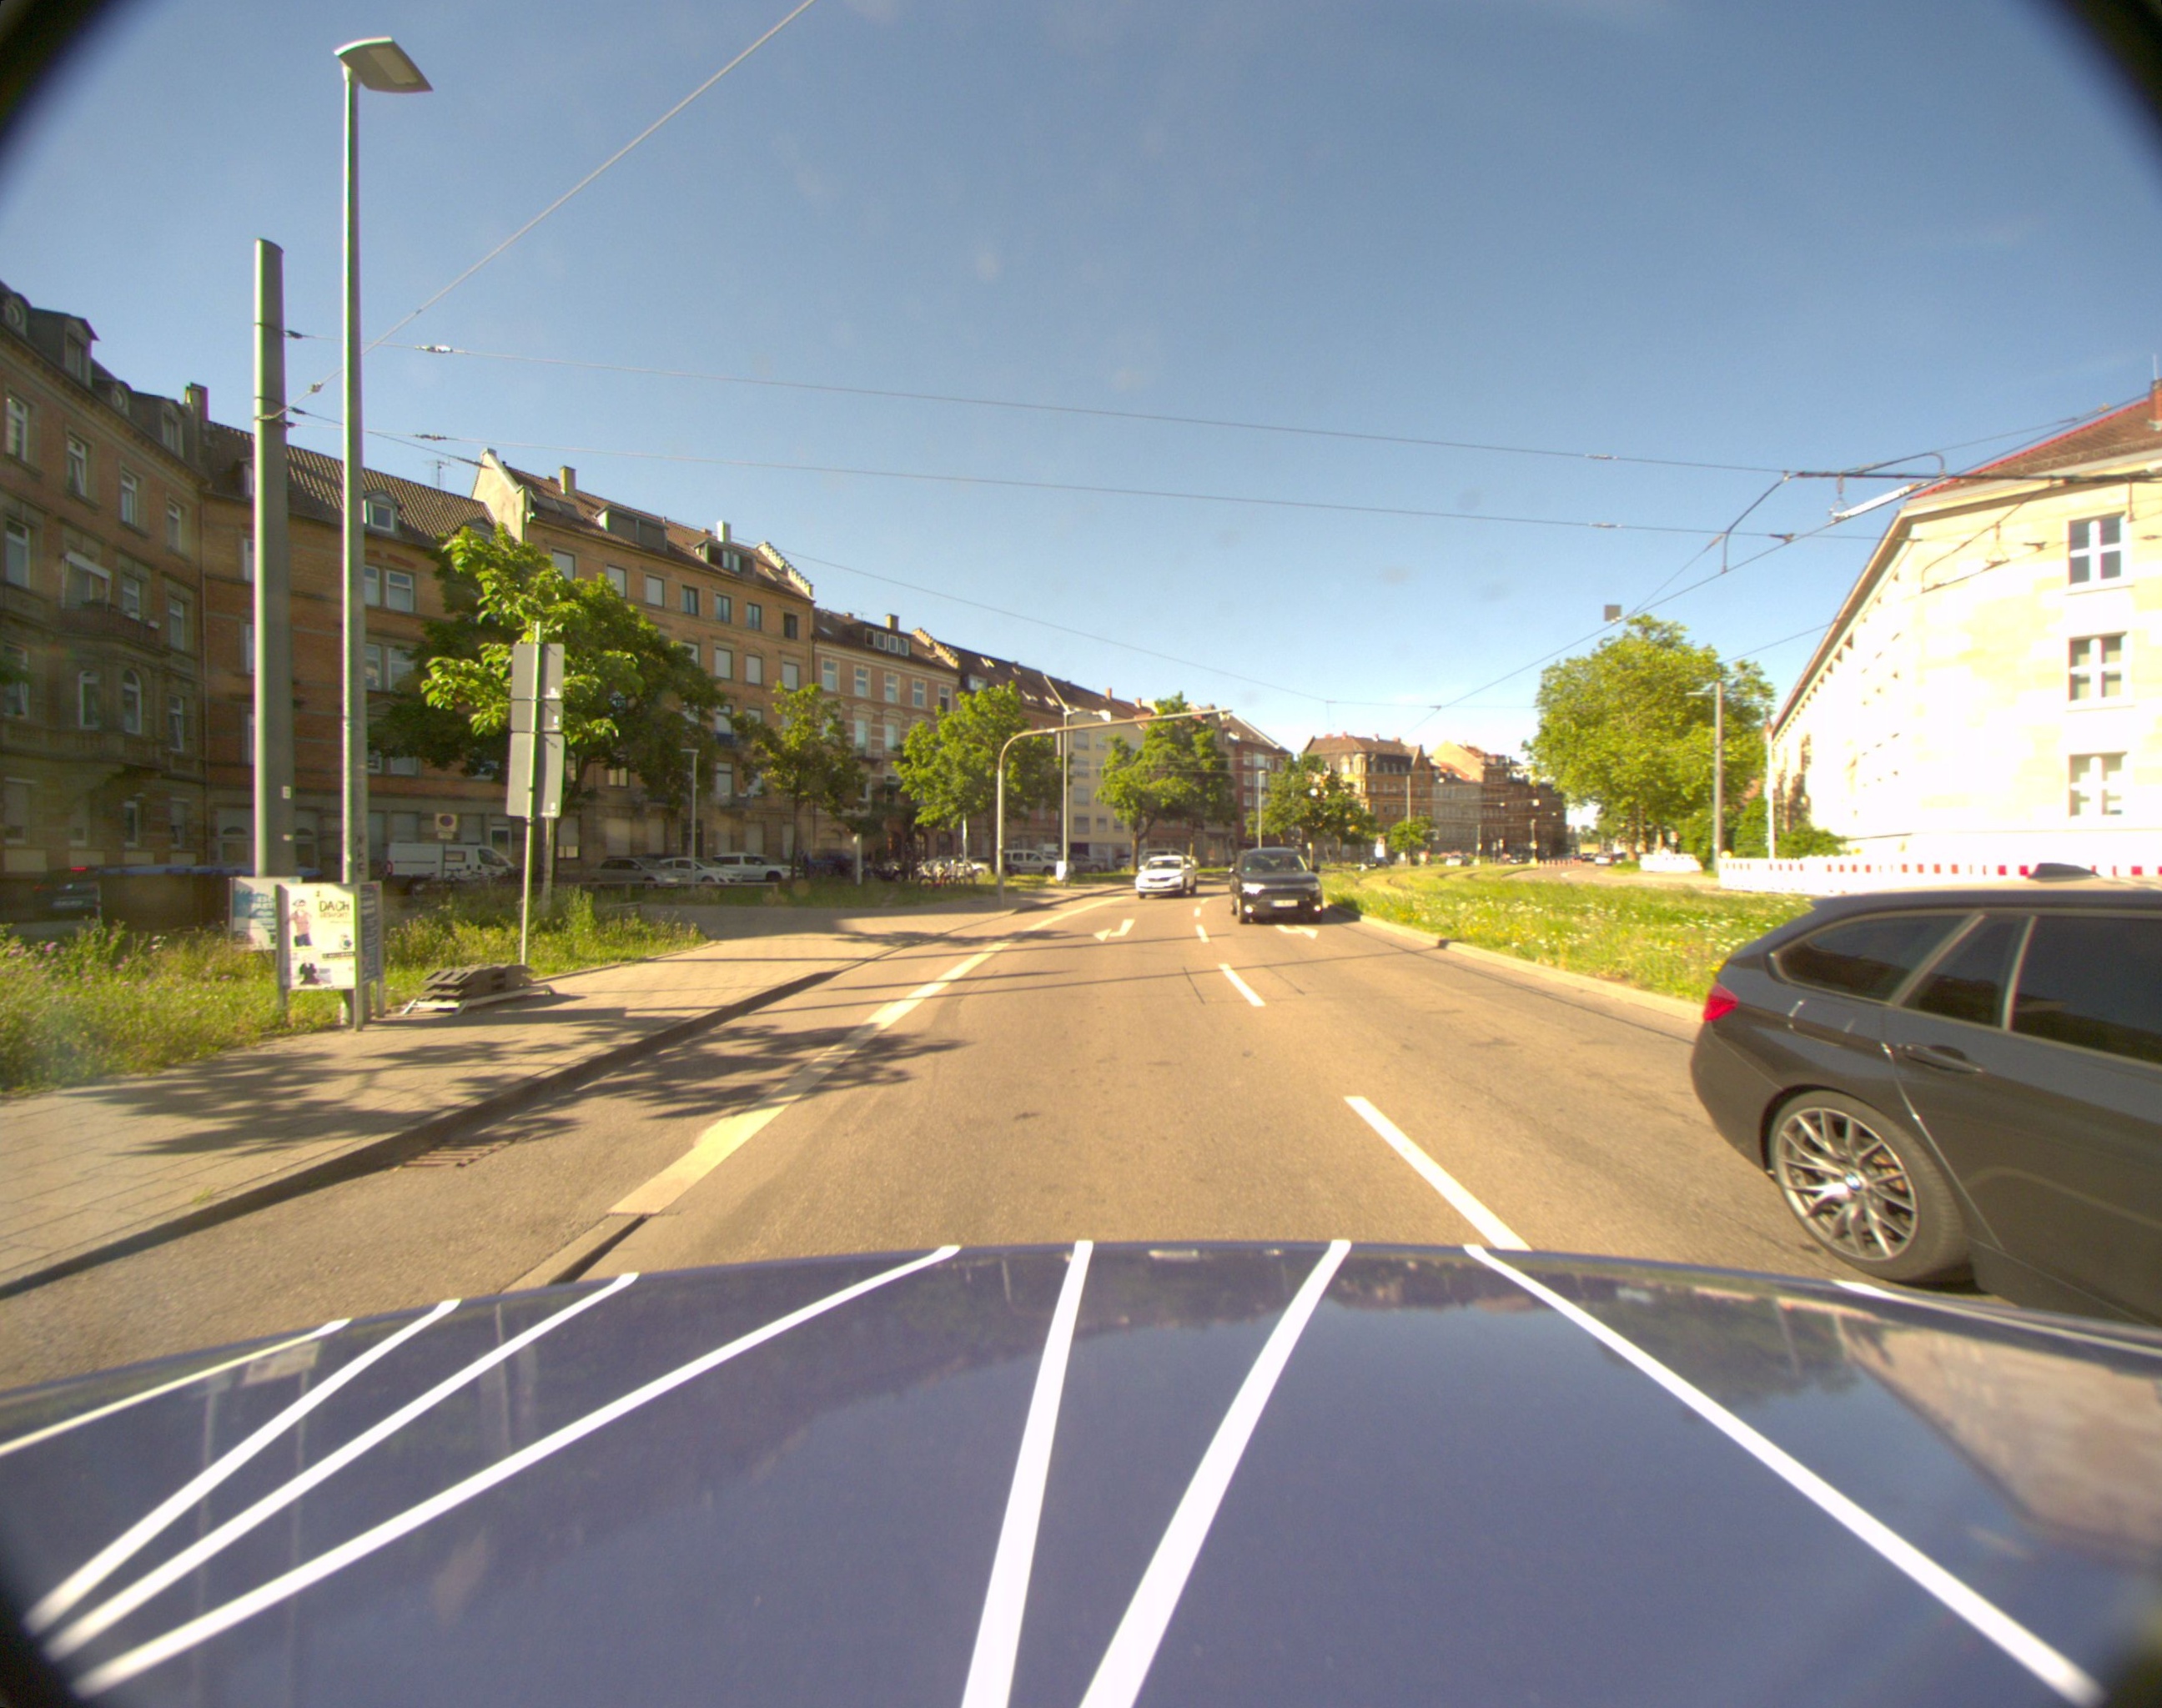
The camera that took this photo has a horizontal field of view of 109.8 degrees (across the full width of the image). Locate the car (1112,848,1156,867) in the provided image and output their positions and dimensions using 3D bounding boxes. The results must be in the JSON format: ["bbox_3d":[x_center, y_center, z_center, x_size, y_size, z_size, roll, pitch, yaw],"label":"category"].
[{"bbox_3d":[5.268,0.325,75.339,1.994,1.789,4.636,2,1,38],"label":"car"}]

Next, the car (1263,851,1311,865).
[{"bbox_3d":[22.890,0.475,84.679,4.874,1.426,2.021,1,1,6],"label":"car"}]

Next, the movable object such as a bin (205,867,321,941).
[{"bbox_3d":[-16.414,0.969,15.307,1.323,1.390,1.108,0,0,-31],"label":"movable object such as a bin"}]

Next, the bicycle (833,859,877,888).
[{"bbox_3d":[-11.091,0.935,37.242,2.094,1.390,0.789,-1,1,28],"label":"bicycle"}]

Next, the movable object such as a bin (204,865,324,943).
[{"bbox_3d":[-15.503,0.908,14.476,1.306,1.390,1.069,0,0,-31],"label":"movable object such as a bin"}]

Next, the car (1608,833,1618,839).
[{"bbox_3d":[141.010,-4.745,201.314,1.793,1.421,4.385,0,0,39],"label":"car"}]

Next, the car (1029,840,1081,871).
[{"bbox_3d":[-2.236,0.127,65.988,1.994,2.570,4.523,2,1,40],"label":"car"}]

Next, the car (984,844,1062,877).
[{"bbox_3d":[-3.818,0.423,50.367,4.874,2.001,2.101,1,2,5],"label":"car"}]

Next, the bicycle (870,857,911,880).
[{"bbox_3d":[-9.841,0.747,39.266,2.163,1.151,0.824,-1,1,35],"label":"bicycle"}]

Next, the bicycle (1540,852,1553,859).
[{"bbox_3d":[90.016,0.286,146.859,0.846,1.131,1.915,-1,1,-36],"label":"bicycle"}]

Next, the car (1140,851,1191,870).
[{"bbox_3d":[6.903,0.511,62.331,4.025,1.470,1.813,1,2,5],"label":"car"}]

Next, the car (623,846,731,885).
[{"bbox_3d":[-21.661,0.578,40.922,1.994,1.966,4.734,2,1,39],"label":"car"}]

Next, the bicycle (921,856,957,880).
[{"bbox_3d":[-7.613,0.739,40.702,1.958,1.185,0.843,2,2,38],"label":"bicycle"}]

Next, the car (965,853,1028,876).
[{"bbox_3d":[-5.327,0.638,47.966,3.610,1.372,1.926,0,0,5],"label":"car"}]

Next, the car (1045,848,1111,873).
[{"bbox_3d":[-0.205,0.441,55.397,4.506,1.718,2.001,1,2,9],"label":"car"}]

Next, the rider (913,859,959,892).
[{"bbox_3d":[-5.865,0.863,30.730,1.678,1.169,0.502,-5,3,-34],"label":"rider"}]

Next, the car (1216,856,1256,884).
[{"bbox_3d":[9.590,0.943,46.719,1.996,1.608,4.269,-1,0,17],"label":"car"}]

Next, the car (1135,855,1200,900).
[{"bbox_3d":[3.584,0.903,30.796,1.799,1.626,4.399,-1,0,17],"label":"car"}]

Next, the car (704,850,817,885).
[{"bbox_3d":[-14.895,0.633,35.417,4.464,1.556,1.939,0,0,8],"label":"car"}]

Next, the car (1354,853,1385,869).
[{"bbox_3d":[26.559,0.637,69.856,1.886,1.419,4.385,-1,0,31],"label":"car"}]

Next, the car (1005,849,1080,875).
[{"bbox_3d":[-2.664,0.535,52.939,4.872,1.638,2.102,1,2,9],"label":"car"}]

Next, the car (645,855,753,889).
[{"bbox_3d":[-16.593,0.759,33.102,3.838,1.433,1.761,0,0,8],"label":"car"}]

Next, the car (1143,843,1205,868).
[{"bbox_3d":[7.982,0.135,64.983,5.179,2.001,2.102,1,2,9],"label":"car"}]

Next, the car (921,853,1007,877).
[{"bbox_3d":[-6.951,0.631,45.496,4.747,1.372,2.047,0,0,5],"label":"car"}]

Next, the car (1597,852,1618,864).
[{"bbox_3d":[65.665,0.509,94.778,1.830,1.444,4.179,1,1,40],"label":"car"}]

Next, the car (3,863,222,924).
[{"bbox_3d":[-26.380,0.986,20.949,2.002,1.428,4.099,-1,0,-24],"label":"car"}]

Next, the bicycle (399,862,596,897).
[{"bbox_3d":[-21.594,0.893,28.373,2.676,1.120,5.233,-1,0,34],"label":"bicycle"}]

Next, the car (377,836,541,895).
[{"bbox_3d":[-27.091,0.467,33.266,2.349,2.343,5.199,2,1,39],"label":"car"}]

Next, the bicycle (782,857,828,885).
[{"bbox_3d":[-14.251,0.873,39.292,2.099,1.357,0.787,-1,1,-2],"label":"bicycle"}]

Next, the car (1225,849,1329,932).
[{"bbox_3d":[4.489,0.766,18.072,1.839,1.672,4.646,-2,0,8],"label":"car"}]

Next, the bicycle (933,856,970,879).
[{"bbox_3d":[-7.086,0.729,41.466,1.945,1.174,0.902,1,2,38],"label":"bicycle"}]

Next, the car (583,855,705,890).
[{"bbox_3d":[-17.776,0.742,30.975,4.050,1.329,1.841,0,0,11],"label":"car"}]

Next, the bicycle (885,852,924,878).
[{"bbox_3d":[-9.317,0.588,40.073,2.094,1.357,0.789,-1,0,33],"label":"bicycle"}]

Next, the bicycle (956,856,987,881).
[{"bbox_3d":[-5.759,0.736,39.890,1.598,1.282,0.769,1,1,-11],"label":"bicycle"}]

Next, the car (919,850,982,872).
[{"bbox_3d":[-9.662,0.527,56.731,1.994,1.520,4.522,2,1,35],"label":"car"}]

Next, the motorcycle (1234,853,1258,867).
[{"bbox_3d":[16.591,0.603,76.423,2.262,1.412,0.854,1,1,-10],"label":"motorcycle"}]

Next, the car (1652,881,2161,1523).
[{"bbox_3d":[3.463,0.878,1.196,1.738,1.415,4.467,-3,0,1],"label":"car"}]

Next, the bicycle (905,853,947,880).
[{"bbox_3d":[-7.834,0.623,38.286,2.094,1.357,0.789,-1,1,33],"label":"bicycle"}]

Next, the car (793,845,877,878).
[{"bbox_3d":[-15.622,0.448,48.384,1.994,1.966,4.734,2,1,39],"label":"car"}]

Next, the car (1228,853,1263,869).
[{"bbox_3d":[20.075,0.875,92.499,1.996,1.464,4.498,-10,-4,41],"label":"car"}]

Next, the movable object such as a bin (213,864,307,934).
[{"bbox_3d":[-17.390,0.927,16.134,1.092,1.390,1.029,0,0,-31],"label":"movable object such as a bin"}]

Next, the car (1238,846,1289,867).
[{"bbox_3d":[18.894,0.246,78.994,4.875,2.063,2.021,1,1,4],"label":"car"}]
